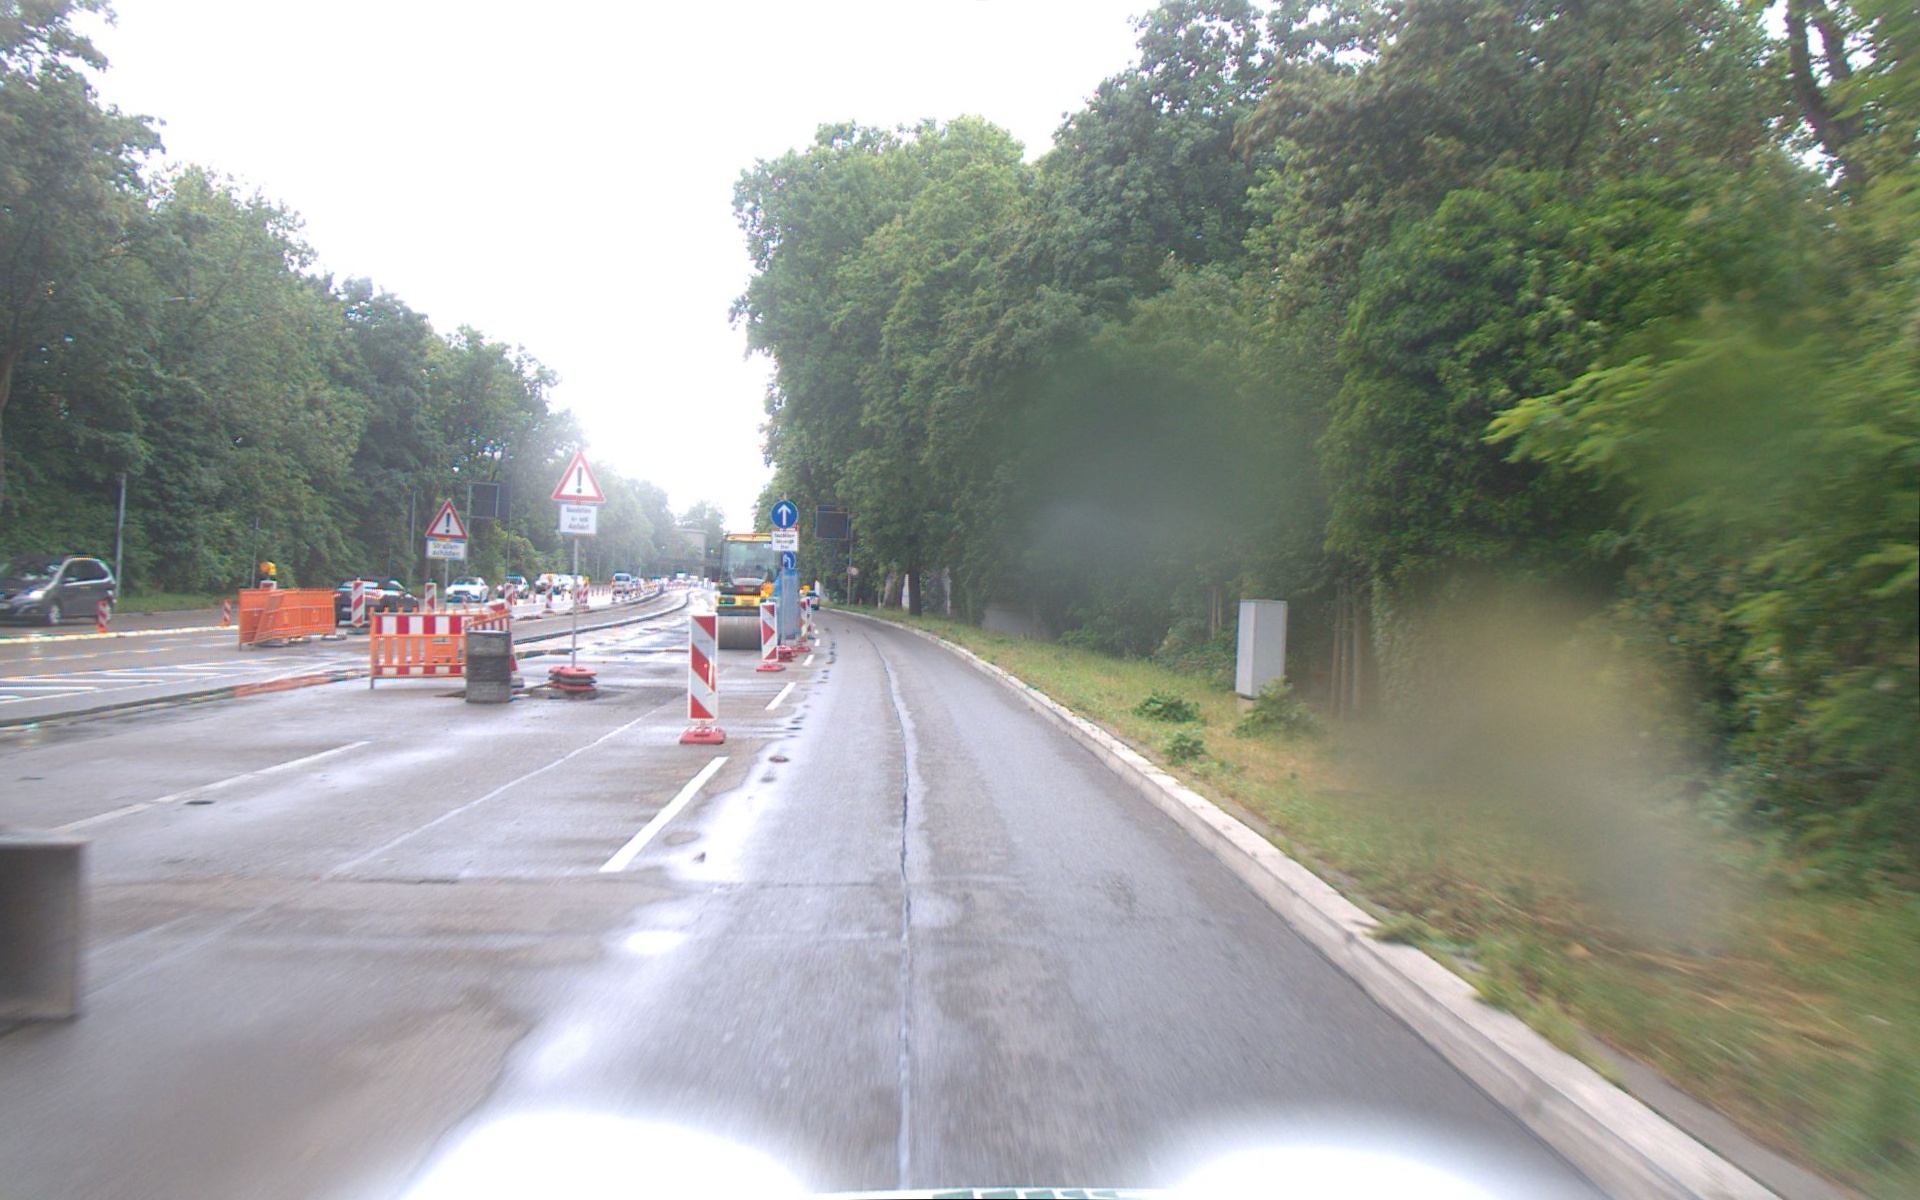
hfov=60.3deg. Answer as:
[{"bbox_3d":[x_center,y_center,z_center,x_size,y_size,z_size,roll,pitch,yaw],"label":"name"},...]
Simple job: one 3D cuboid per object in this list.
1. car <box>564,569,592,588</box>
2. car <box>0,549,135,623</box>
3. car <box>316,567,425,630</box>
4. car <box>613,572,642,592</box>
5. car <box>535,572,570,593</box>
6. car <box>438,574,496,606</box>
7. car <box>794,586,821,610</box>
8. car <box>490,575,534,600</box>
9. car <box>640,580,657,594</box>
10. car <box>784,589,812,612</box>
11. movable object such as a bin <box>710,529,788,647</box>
[{"bbox_3d":[-35.732,-1.988,154.749,1.890,1.694,4.647,1,0,-6],"label":"car"},{"bbox_3d":[-22.479,-0.349,40.902,1.888,1.694,4.651,1,0,-2],"label":"car"},{"bbox_3d":[-16.926,-0.077,47.701,1.825,1.517,3.999,3,3,-3],"label":"car"},{"bbox_3d":[-30.961,-1.680,154.200,1.888,1.809,4.651,1,0,-2],"label":"car"},{"bbox_3d":[-34.829,-1.469,141.371,1.888,1.694,4.651,1,0,-2],"label":"car"},{"bbox_3d":[-27.252,-0.545,91.524,1.888,1.694,4.651,1,0,-2],"label":"car"},{"bbox_3d":[-11.660,-0.157,126.463,1.878,1.625,4.826,2,1,-7],"label":"car"},{"bbox_3d":[-30.920,-0.867,114.287,1.888,1.694,4.651,1,0,-2],"label":"car"},{"bbox_3d":[-36.453,-1.539,193.548,1.540,1.482,3.367,4,1,-15],"label":"car"},{"bbox_3d":[-10.882,0.023,111.082,1.723,1.367,3.995,3,1,-7],"label":"car"},{"bbox_3d":[-5.463,-0.312,43.115,1.712,2.917,3.532,1,0,-3],"label":"movable object such as a bin"}]
